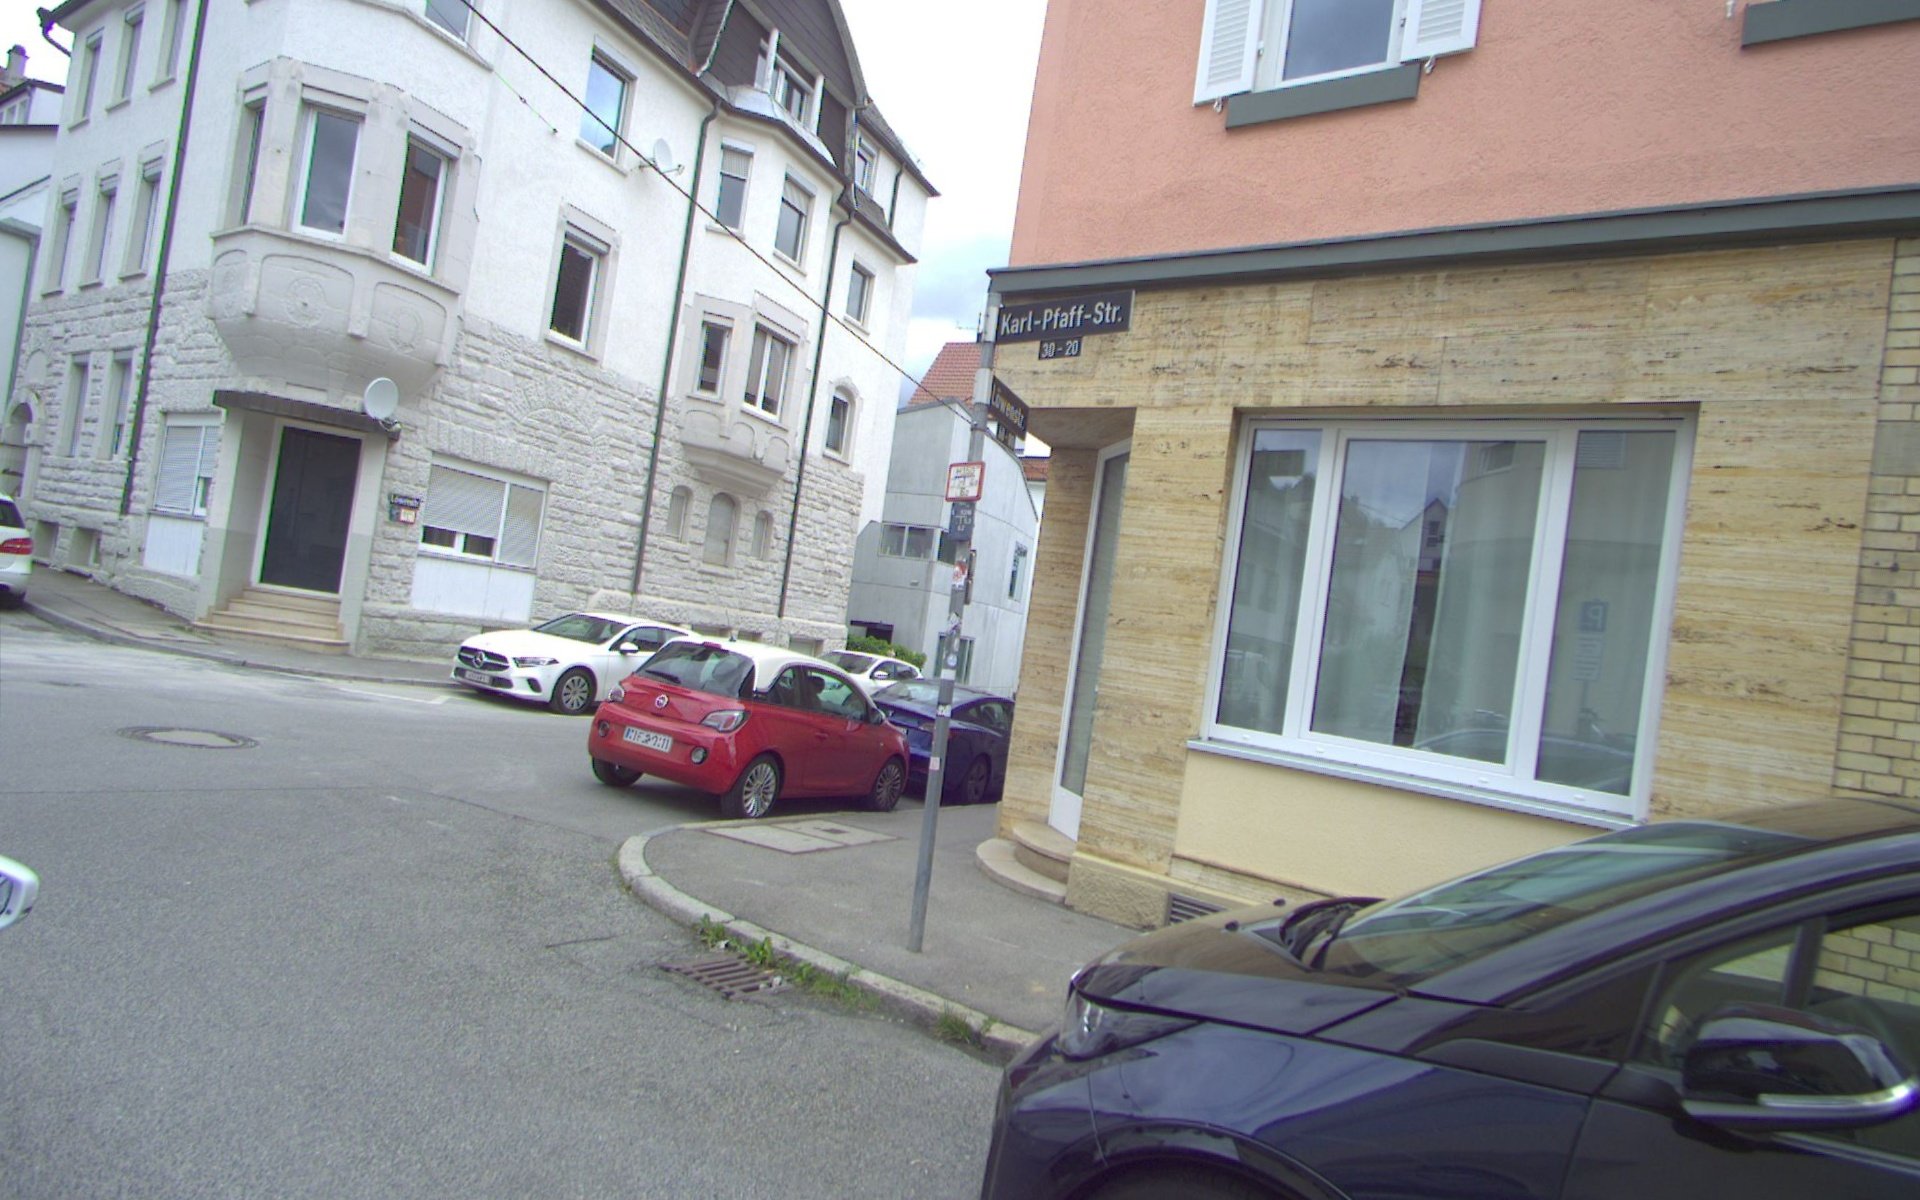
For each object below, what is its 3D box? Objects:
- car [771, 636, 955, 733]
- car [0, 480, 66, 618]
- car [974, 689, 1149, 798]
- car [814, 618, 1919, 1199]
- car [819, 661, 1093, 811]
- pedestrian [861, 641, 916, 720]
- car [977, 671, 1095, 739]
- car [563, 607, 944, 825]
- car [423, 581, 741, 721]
[{"bbox_3d":[-1.924,1.876,21.440,1.818,1.531,4.246,8,-4,26],"label":"car"},{"bbox_3d":[-13.791,-0.968,13.189,3.959,1.616,1.826,9,-3,31],"label":"car"},{"bbox_3d":[1.973,2.601,18.329,1.825,1.417,3.972,10,-3,25],"label":"car"},{"bbox_3d":[1.896,1.141,1.840,3.960,1.559,1.824,7,-4,31],"label":"car"},{"bbox_3d":[0.149,1.880,13.858,1.826,1.417,4.296,10,-3,28],"label":"car"},{"bbox_3d":[-1.872,2.093,26.198,0.842,1.904,0.810,12,-4,-40],"label":"pedestrian"},{"bbox_3d":[2.373,3.209,30.152,1.868,1.542,4.476,8,-4,26],"label":"car"},{"bbox_3d":[-1.768,1.143,9.819,1.643,1.494,3.631,8,-4,25],"label":"car"},{"bbox_3d":[-5.282,0.852,14.719,1.674,1.428,4.246,8,-4,26],"label":"car"}]
